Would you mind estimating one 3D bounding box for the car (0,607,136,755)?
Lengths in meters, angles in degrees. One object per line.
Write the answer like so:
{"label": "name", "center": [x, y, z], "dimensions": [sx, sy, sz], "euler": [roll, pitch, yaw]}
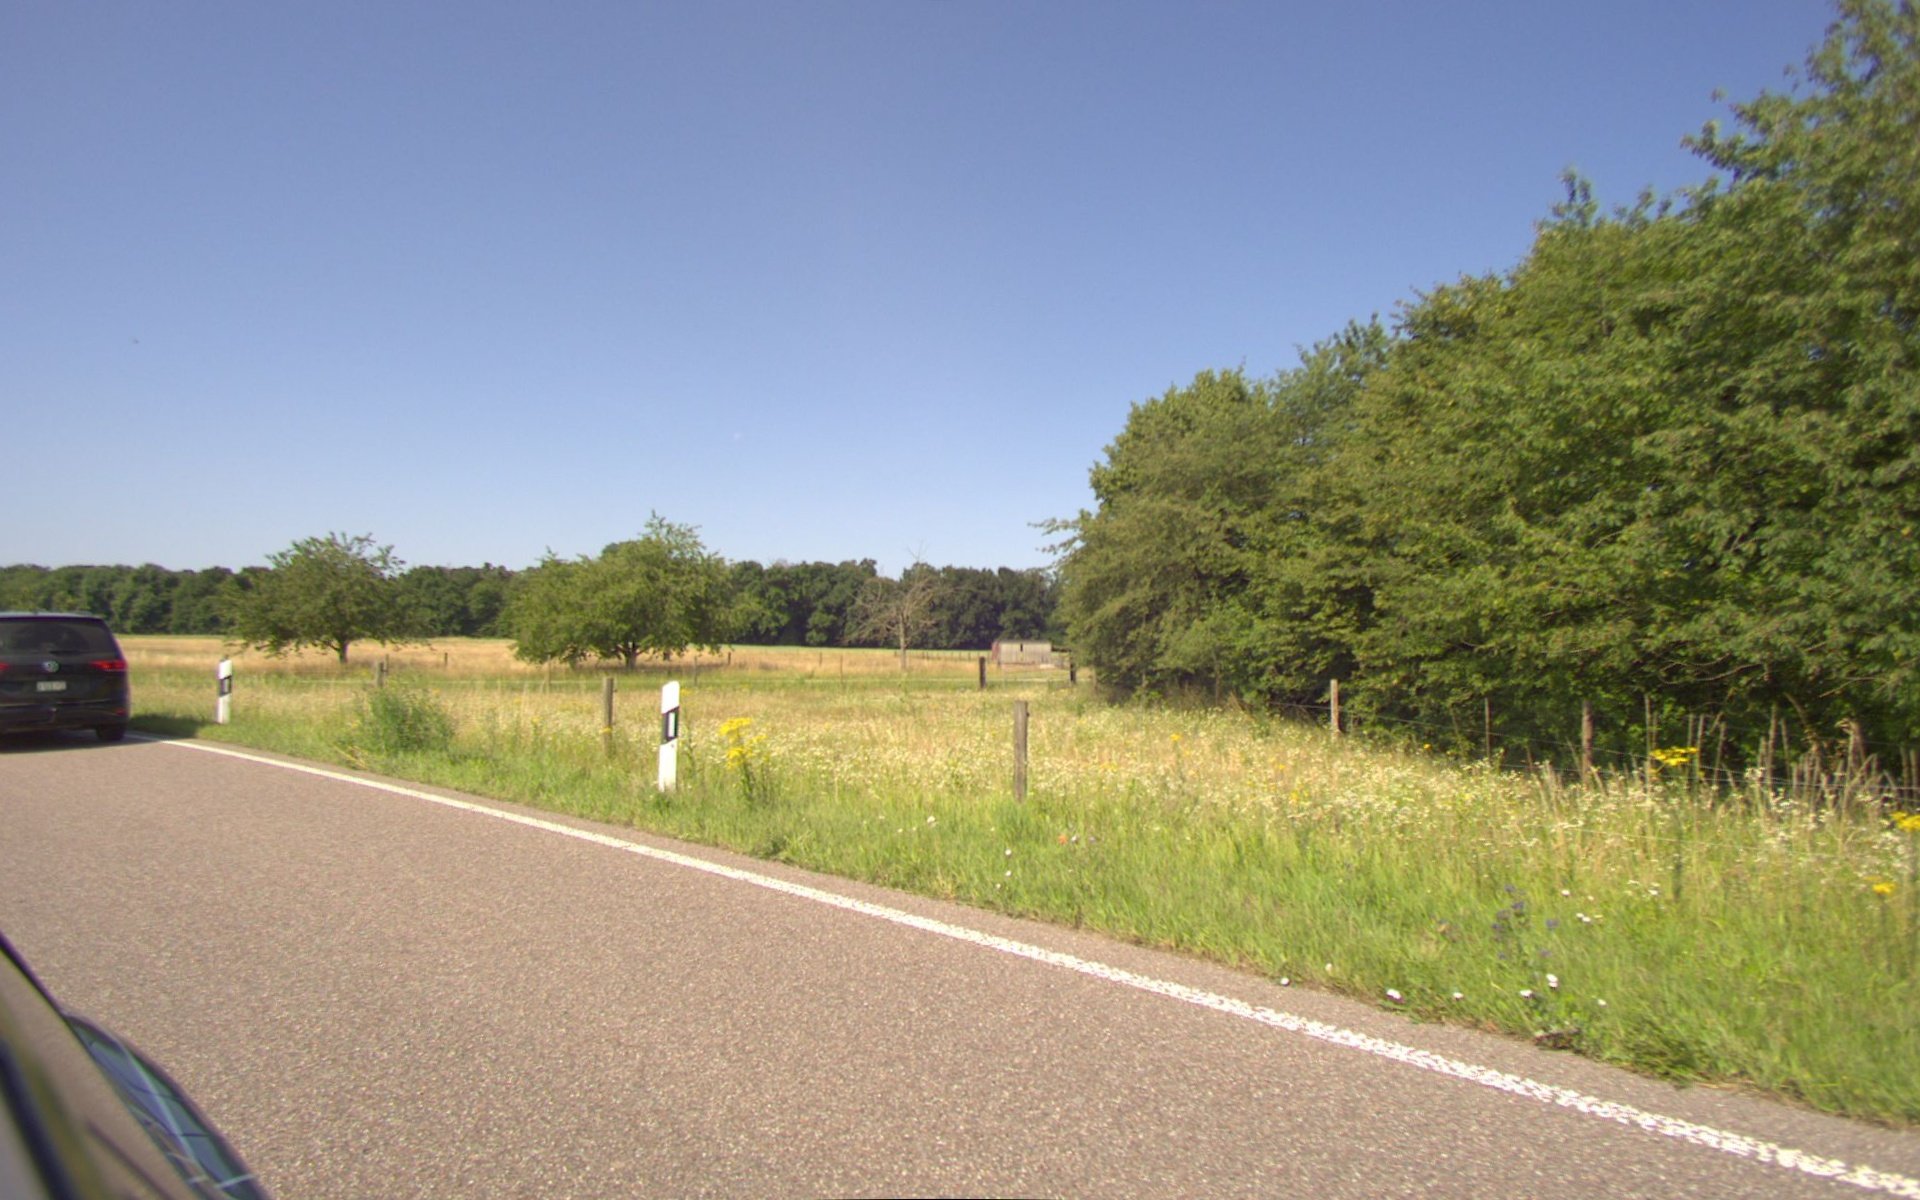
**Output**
{"label": "car", "center": [-12.153, 0.953, 12.755], "dimensions": [4.153, 1.644, 1.768], "euler": [-2, -2, 36]}
